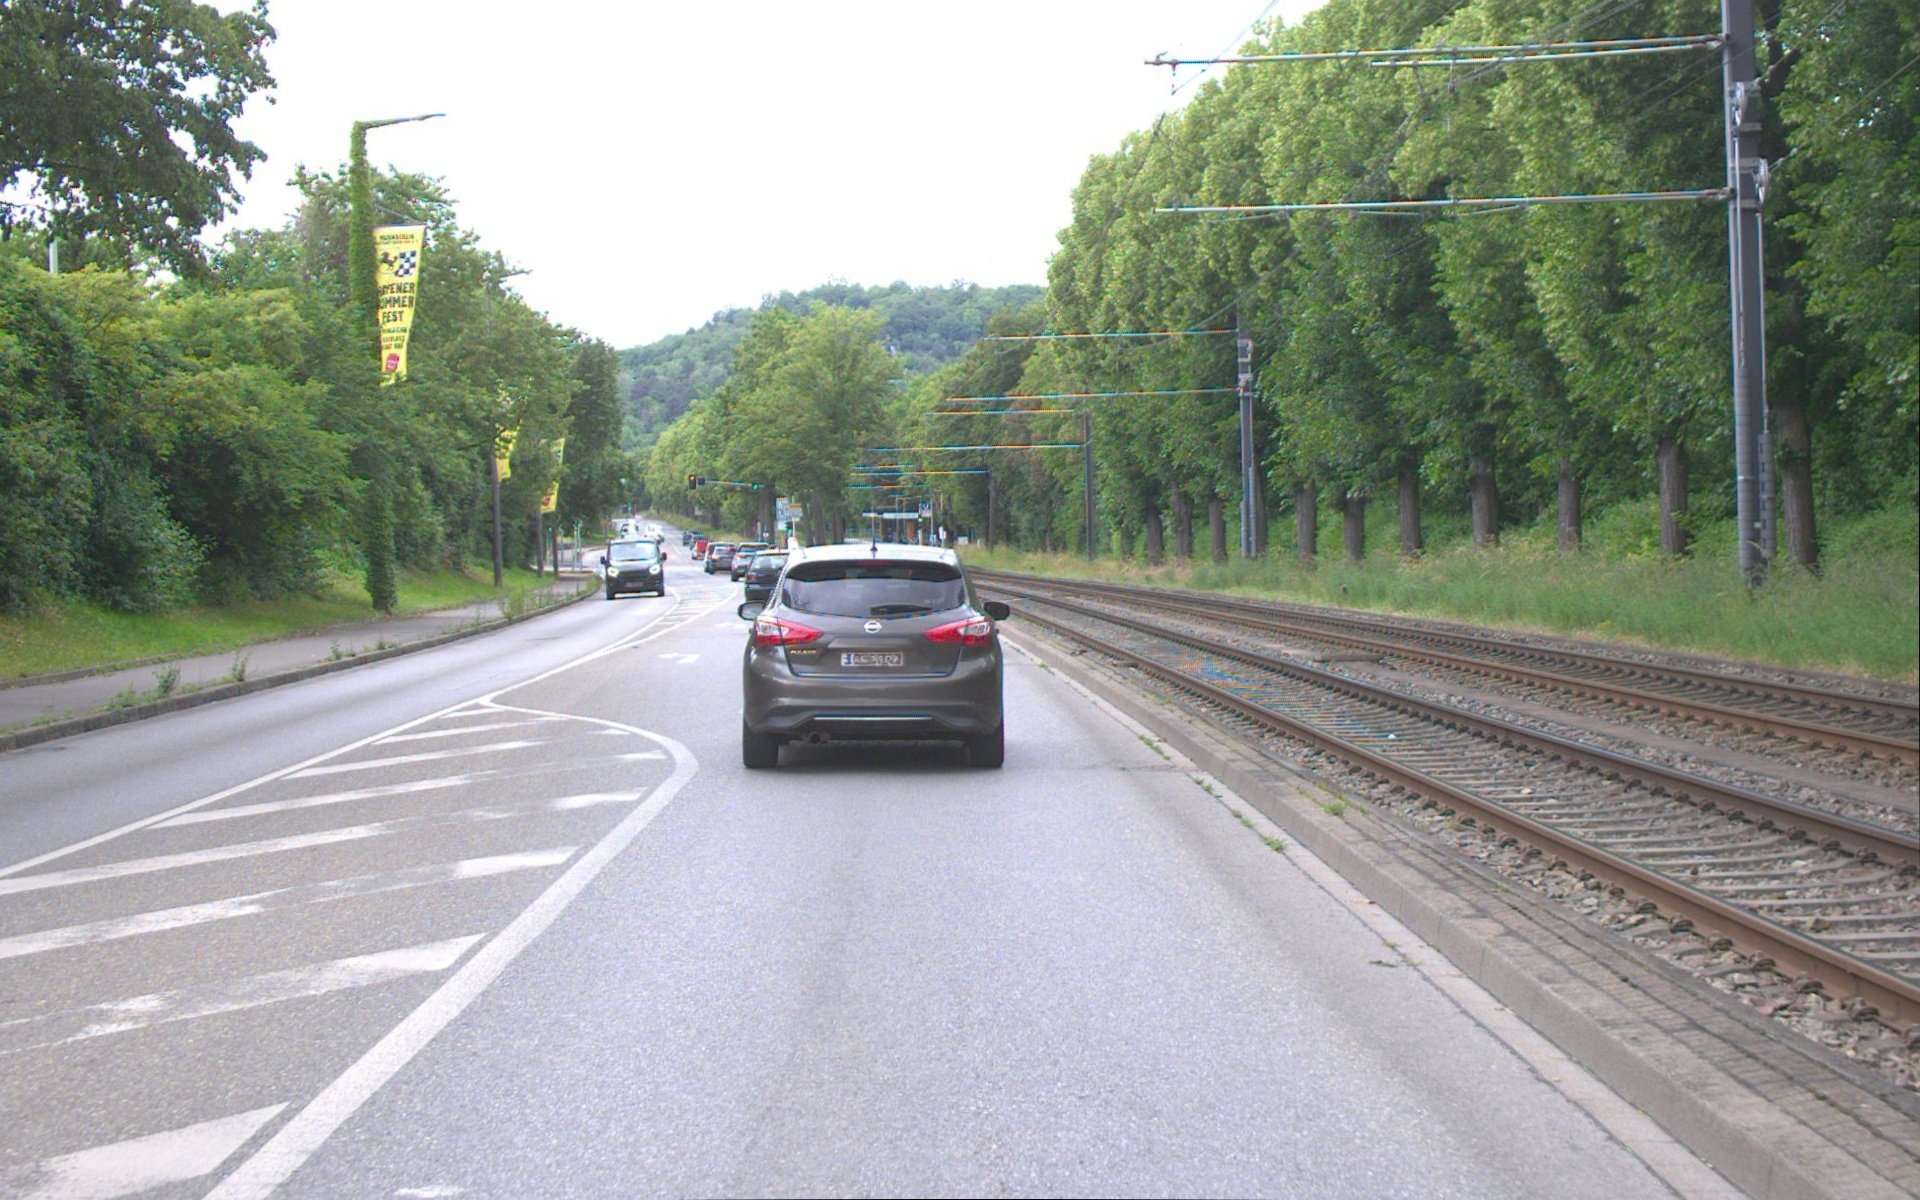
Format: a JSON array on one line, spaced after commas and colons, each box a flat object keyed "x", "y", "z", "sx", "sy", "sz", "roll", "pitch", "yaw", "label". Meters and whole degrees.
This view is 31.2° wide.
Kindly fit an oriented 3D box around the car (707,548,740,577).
[{"x": -13.934, "y": -2.231, "z": 202.960, "sx": 1.699, "sy": 1.708, "sz": 4.000, "roll": 0, "pitch": 1, "yaw": -1, "label": "car"}]

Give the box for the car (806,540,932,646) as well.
[{"x": -1.306, "y": -0.123, "z": 48.833, "sx": 1.699, "sy": 1.438, "sz": 4.000, "roll": 0, "pitch": 1, "yaw": -2, "label": "car"}]

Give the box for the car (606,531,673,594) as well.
[{"x": -11.071, "y": -1.307, "z": 119.001, "sx": 1.993, "sy": 2.029, "sz": 5.116, "roll": -3, "pitch": 1, "yaw": -3, "label": "car"}]

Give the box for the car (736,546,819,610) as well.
[{"x": -4.194, "y": -0.531, "z": 79.413, "sx": 1.700, "sy": 1.438, "sz": 4.000, "roll": 0, "pitch": 1, "yaw": 0, "label": "car"}]

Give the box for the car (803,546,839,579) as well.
[{"x": -6.777, "y": -1.826, "z": 167.702, "sx": 1.715, "sy": 1.545, "sz": 4.000, "roll": 0, "pitch": 0, "yaw": -2, "label": "car"}]

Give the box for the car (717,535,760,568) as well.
[{"x": -10.503, "y": -2.298, "z": 163.189, "sx": 1.794, "sy": 1.505, "sz": 4.000, "roll": 0, "pitch": 1, "yaw": -1, "label": "car"}]

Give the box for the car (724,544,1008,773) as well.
[{"x": -0.625, "y": 0.350, "z": 24.386, "sx": 1.850, "sy": 1.488, "sz": 4.000, "roll": 0, "pitch": 1, "yaw": 0, "label": "car"}]

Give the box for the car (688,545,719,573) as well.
[{"x": -15.880, "y": -2.569, "z": 212.887, "sx": 1.699, "sy": 1.708, "sz": 4.000, "roll": 0, "pitch": 1, "yaw": -1, "label": "car"}]
